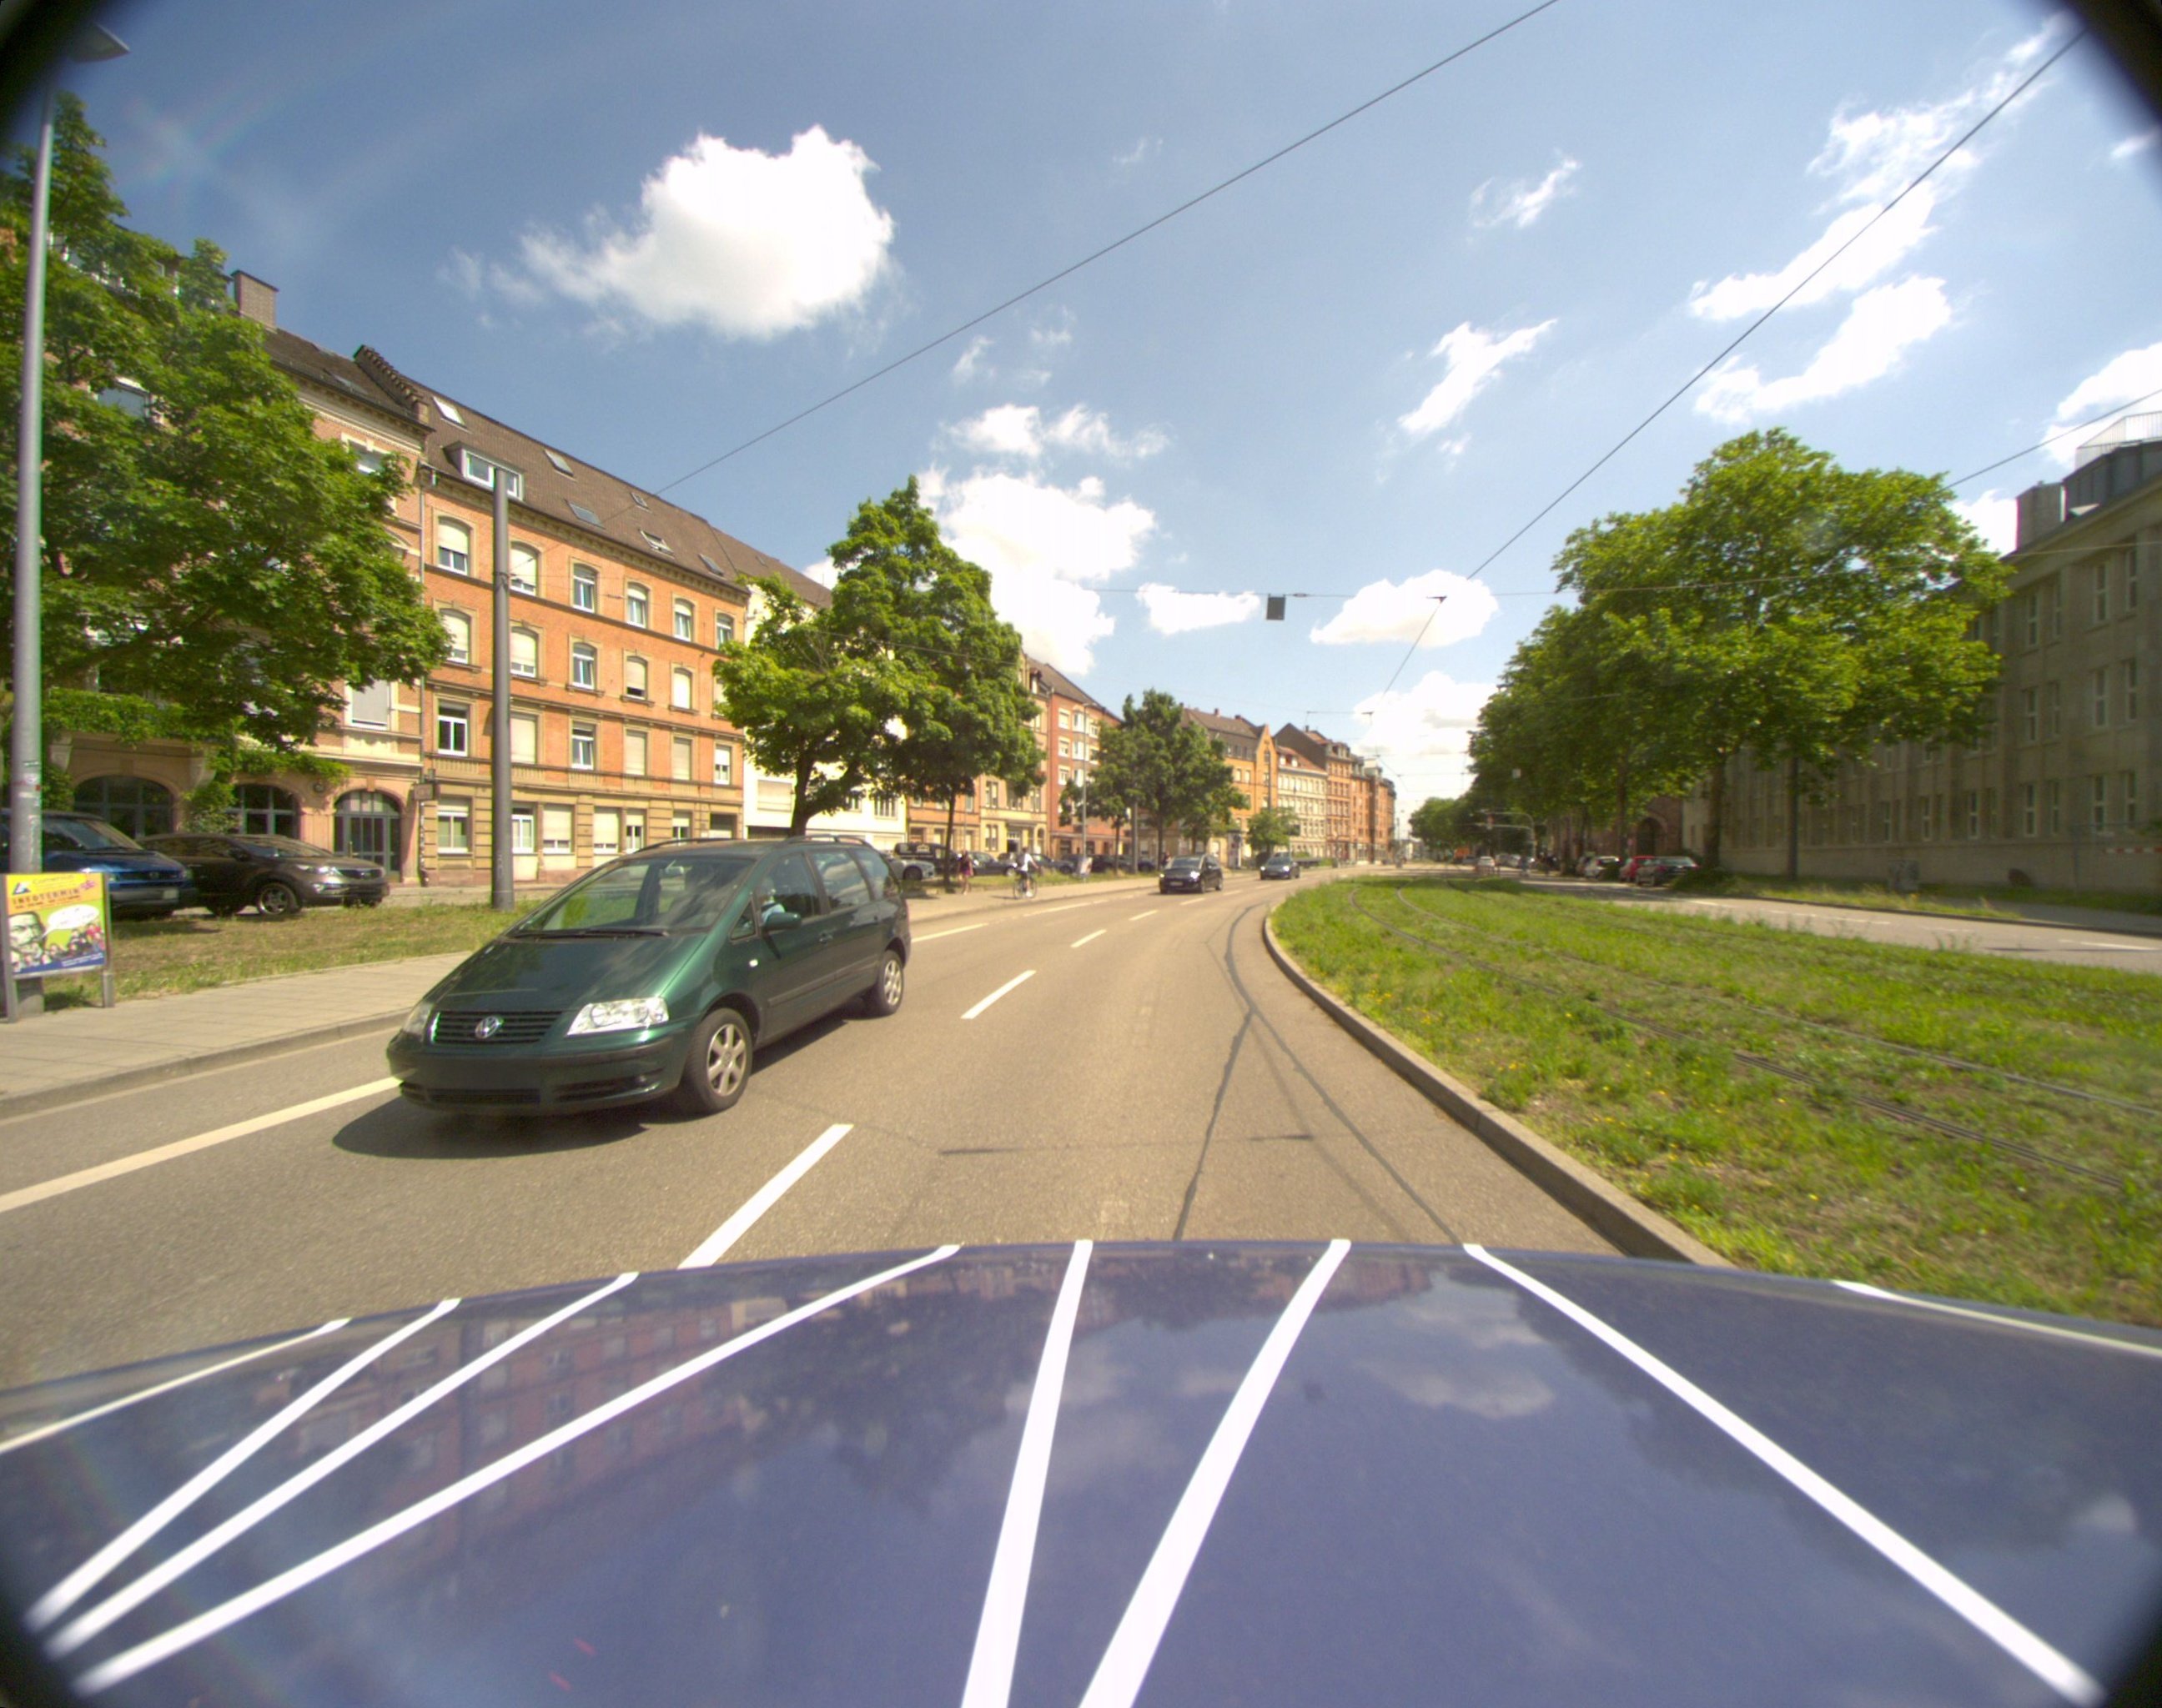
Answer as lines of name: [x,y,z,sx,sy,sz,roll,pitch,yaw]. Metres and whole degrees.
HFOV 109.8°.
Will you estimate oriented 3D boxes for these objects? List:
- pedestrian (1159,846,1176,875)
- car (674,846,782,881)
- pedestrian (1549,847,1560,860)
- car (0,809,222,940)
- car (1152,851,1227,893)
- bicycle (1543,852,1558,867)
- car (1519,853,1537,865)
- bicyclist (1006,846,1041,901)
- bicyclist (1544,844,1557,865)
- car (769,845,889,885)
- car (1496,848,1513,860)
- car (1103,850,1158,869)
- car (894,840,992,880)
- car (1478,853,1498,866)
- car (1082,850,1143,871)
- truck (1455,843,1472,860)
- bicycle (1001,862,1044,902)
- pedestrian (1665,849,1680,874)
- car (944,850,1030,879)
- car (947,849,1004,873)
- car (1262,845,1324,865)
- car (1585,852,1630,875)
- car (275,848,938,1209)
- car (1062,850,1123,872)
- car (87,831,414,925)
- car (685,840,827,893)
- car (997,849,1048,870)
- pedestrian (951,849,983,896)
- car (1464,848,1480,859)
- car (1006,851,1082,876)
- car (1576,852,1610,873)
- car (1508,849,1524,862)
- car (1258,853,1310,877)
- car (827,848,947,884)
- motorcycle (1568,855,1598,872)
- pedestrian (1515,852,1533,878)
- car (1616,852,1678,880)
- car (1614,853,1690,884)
pedestrian: [5.192,0.358,45.722,0.700,1.695,1.046,2,3,24]
car: [-16.074,0.403,34.812,1.833,1.483,4.234,-1,0,26]
pedestrian: [44.835,-0.048,71.971,0.756,1.204,0.915,-5,-1,27]
car: [-17.213,0.332,12.071,4.628,1.916,1.915,-1,0,-5]
car: [4.671,0.721,32.165,1.872,1.610,4.196,0,1,26]
bicycle: [37.909,0.435,61.380,0.791,1.103,2.280,-1,0,26]
car: [57.286,0.606,97.419,1.758,1.488,4.007,-1,0,26]
bicyclist: [-1.996,0.666,26.424,0.694,1.814,0.958,6,3,21]
bicyclist: [37.874,0.064,61.317,0.762,1.694,0.785,-1,1,26]
car: [-9.584,0.413,29.185,4.085,1.397,1.851,-1,0,-10]
car: [72.146,0.030,129.419,1.990,1.992,4.092,-1,0,23]
car: [3.720,0.408,57.287,3.996,1.346,1.962,-1,0,3]
car: [-6.410,0.254,35.484,4.367,1.731,1.850,-1,0,-11]
car: [49.254,0.698,91.998,1.761,1.471,3.795,3,1,25]
car: [2.221,0.432,54.183,3.999,1.372,1.960,-1,0,-7]
truck: [71.941,-0.529,143.008,2.640,3.089,7.235,2,2,26]
bicycle: [-2.018,0.955,26.440,0.694,1.235,1.842,6,3,21]
pedestrian: [37.749,0.475,48.501,0.554,1.582,0.796,-1,1,25]
car: [-4.872,0.524,39.073,4.270,1.372,1.850,-1,0,-11]
car: [-7.506,0.457,54.444,1.833,1.606,4.503,-1,0,26]
car: [25.577,0.081,91.624,6.964,2.360,2.266,0,1,22]
car: [34.550,0.623,49.906,1.748,1.445,3.497,-2,-1,24]
car: [-2.871,0.842,6.276,1.822,1.746,5.034,-1,1,7]
car: [0.755,0.470,51.579,3.998,1.372,1.961,-1,0,-2]
car: [-16.003,0.438,14.840,4.172,1.646,1.916,-1,0,-1]
car: [-11.249,0.413,26.519,4.148,1.731,1.851,-1,0,-5]
car: [-4.593,0.402,60.333,1.833,1.606,4.504,-1,0,28]
pedestrian: [-4.030,0.642,26.877,0.700,1.583,0.907,3,2,24]
car: [63.609,-0.066,123.657,1.922,1.736,4.545,3,2,25]
car: [-2.204,0.546,44.883,4.270,1.372,1.850,-1,0,-11]
car: [36.412,0.619,54.068,1.488,1.445,2.888,-2,-1,24]
car: [63.774,0.227,111.523,1.758,1.825,4.007,-1,0,26]
car: [12.860,0.651,47.923,1.911,1.386,4.321,-1,1,33]
car: [-8.066,0.496,31.957,4.693,1.372,1.851,-1,0,-9]
motorcycle: [38.794,0.770,58.720,2.108,1.168,0.544,-3,-3,-13]
pedestrian: [29.820,0.725,51.113,0.784,1.694,0.702,-1,1,-12]
car: [30.321,0.625,40.826,1.928,1.411,4.057,-2,-1,26]
car: [27.185,0.669,36.339,1.928,1.361,4.325,-2,-1,24]
